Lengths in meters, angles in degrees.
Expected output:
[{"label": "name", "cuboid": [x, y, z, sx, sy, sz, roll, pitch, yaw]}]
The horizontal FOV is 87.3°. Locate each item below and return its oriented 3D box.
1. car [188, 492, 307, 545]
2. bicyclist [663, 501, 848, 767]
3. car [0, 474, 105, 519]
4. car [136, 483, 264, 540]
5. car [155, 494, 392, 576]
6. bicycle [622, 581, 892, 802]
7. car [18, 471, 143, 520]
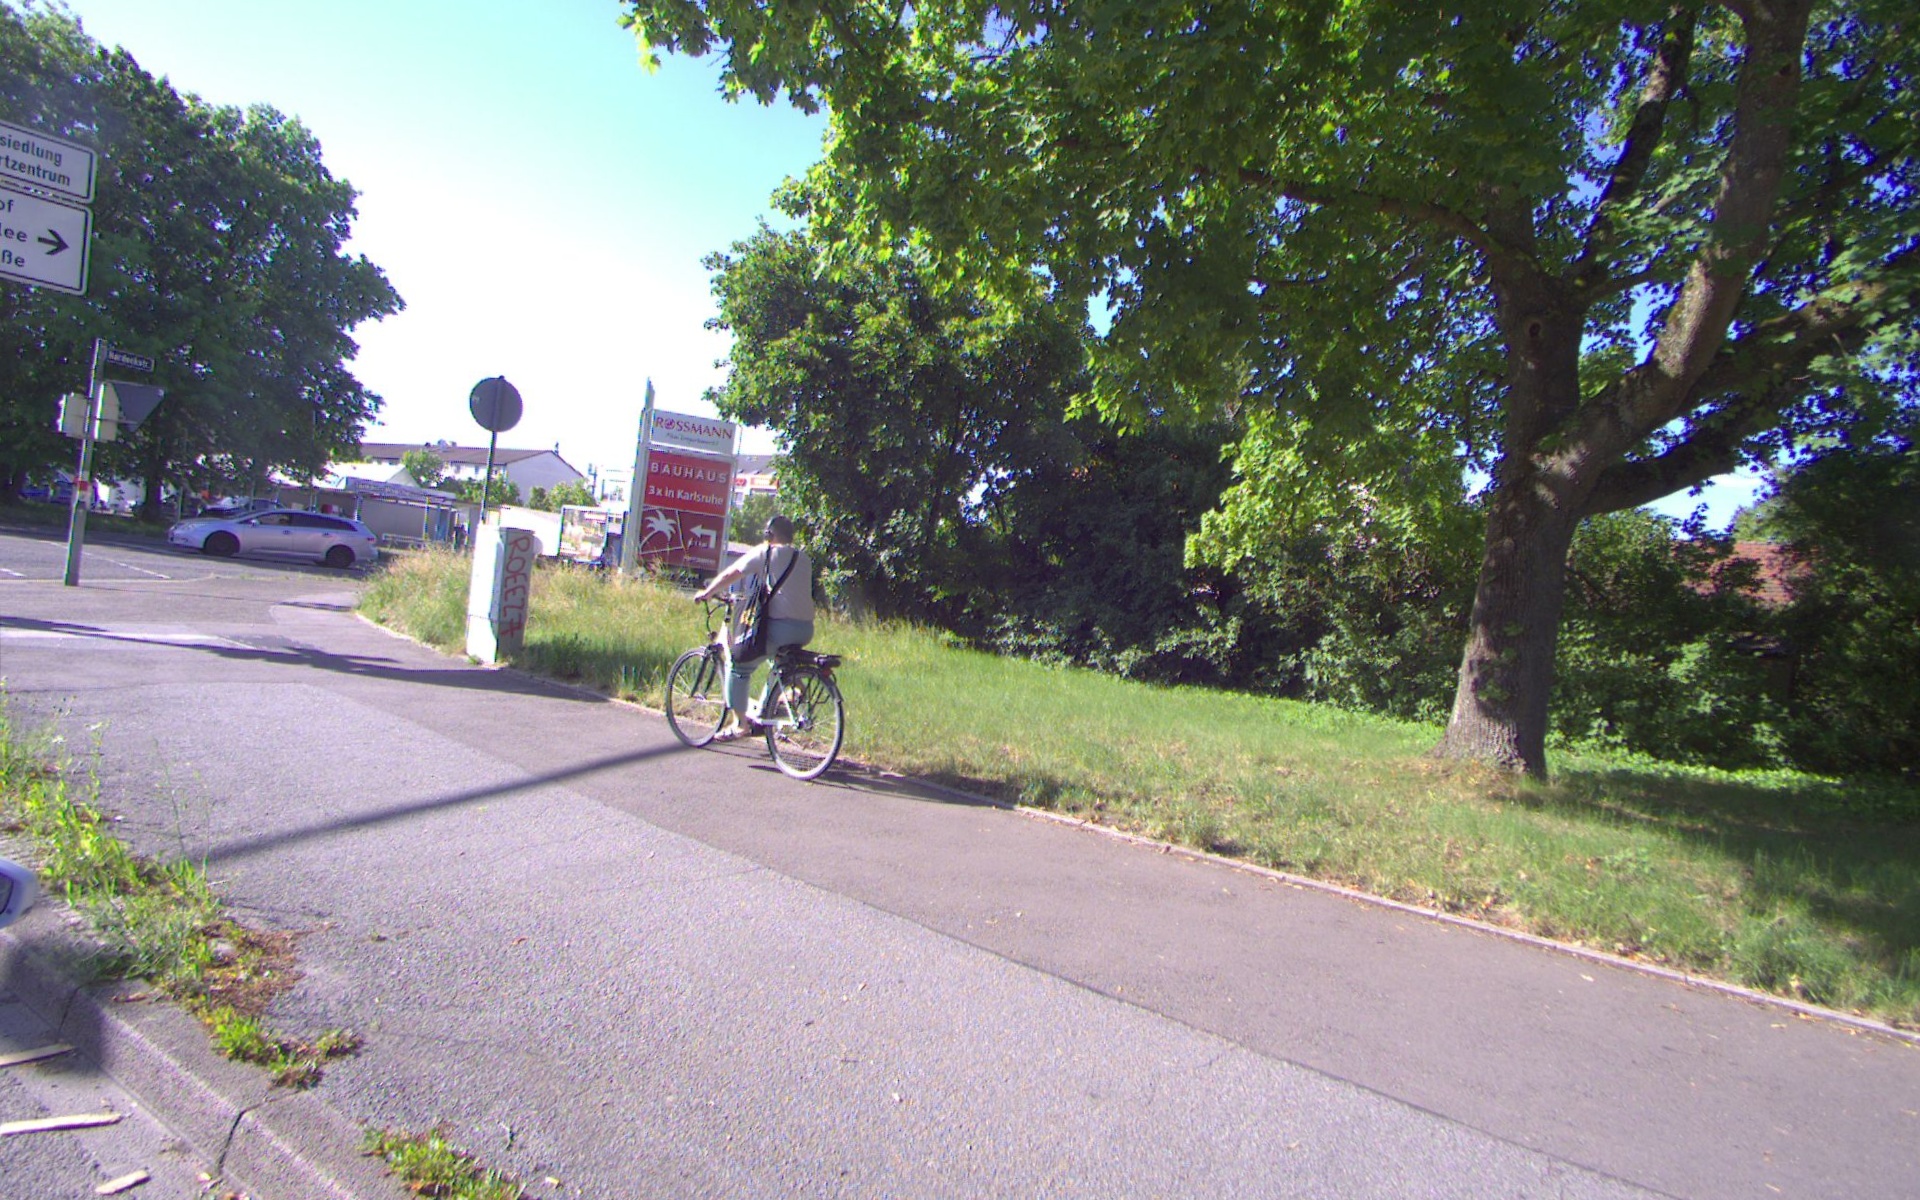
[{"label": "car", "cuboid": [-30.289, -3.422, 42.912, 1.712, 1.701, 4.001, 7, 0, 9]}, {"label": "bicyclist", "cuboid": [-1.377, 0.198, 6.720, 0.982, 1.602, 0.577, 9, 4, 39]}, {"label": "car", "cuboid": [-41.983, -4.762, 46.152, 1.712, 1.537, 3.902, 7, 0, 9]}, {"label": "car", "cuboid": [-32.341, -3.721, 42.962, 1.962, 1.771, 4.001, 7, 0, 9]}, {"label": "car", "cuboid": [-18.641, -1.731, 27.521, 1.973, 1.504, 4.994, 7, 0, 43]}, {"label": "bicycle", "cuboid": [-1.418, 0.542, 6.737, 1.958, 1.112, 0.577, 9, 4, 39]}, {"label": "car", "cuboid": [-39.172, -4.621, 44.927, 1.712, 1.537, 3.902, 7, 0, 9]}]
